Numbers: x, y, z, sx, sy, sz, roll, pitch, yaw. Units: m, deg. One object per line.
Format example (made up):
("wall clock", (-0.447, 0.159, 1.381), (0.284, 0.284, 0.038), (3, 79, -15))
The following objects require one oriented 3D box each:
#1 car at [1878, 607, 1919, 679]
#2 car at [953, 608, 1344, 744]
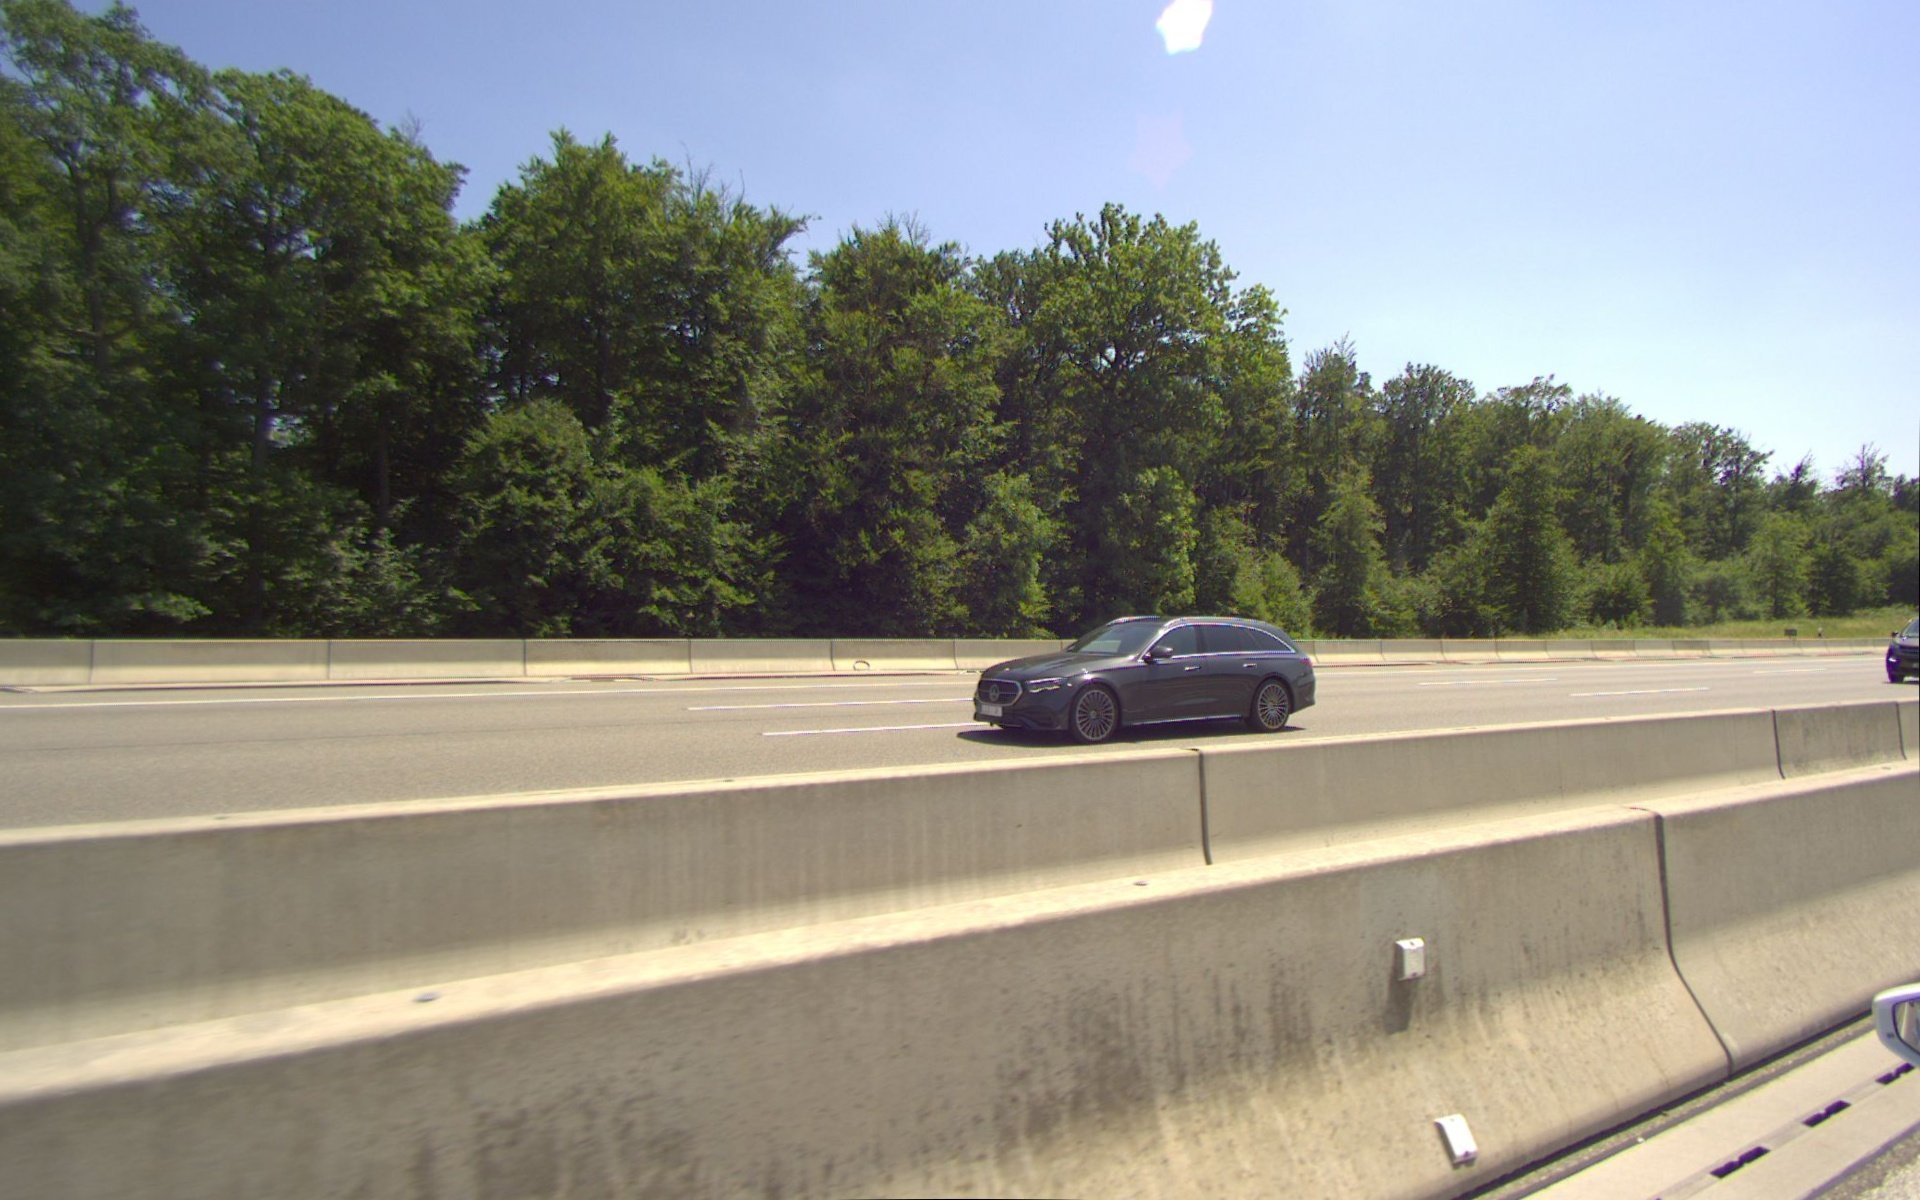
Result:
("car", (28.511, 1.228, 28.656), (5.708, 1.966, 1.863), (1, -1, -31))
("car", (2.558, 0.895, 13.150), (5.051, 1.495, 1.864), (1, -1, -30))
